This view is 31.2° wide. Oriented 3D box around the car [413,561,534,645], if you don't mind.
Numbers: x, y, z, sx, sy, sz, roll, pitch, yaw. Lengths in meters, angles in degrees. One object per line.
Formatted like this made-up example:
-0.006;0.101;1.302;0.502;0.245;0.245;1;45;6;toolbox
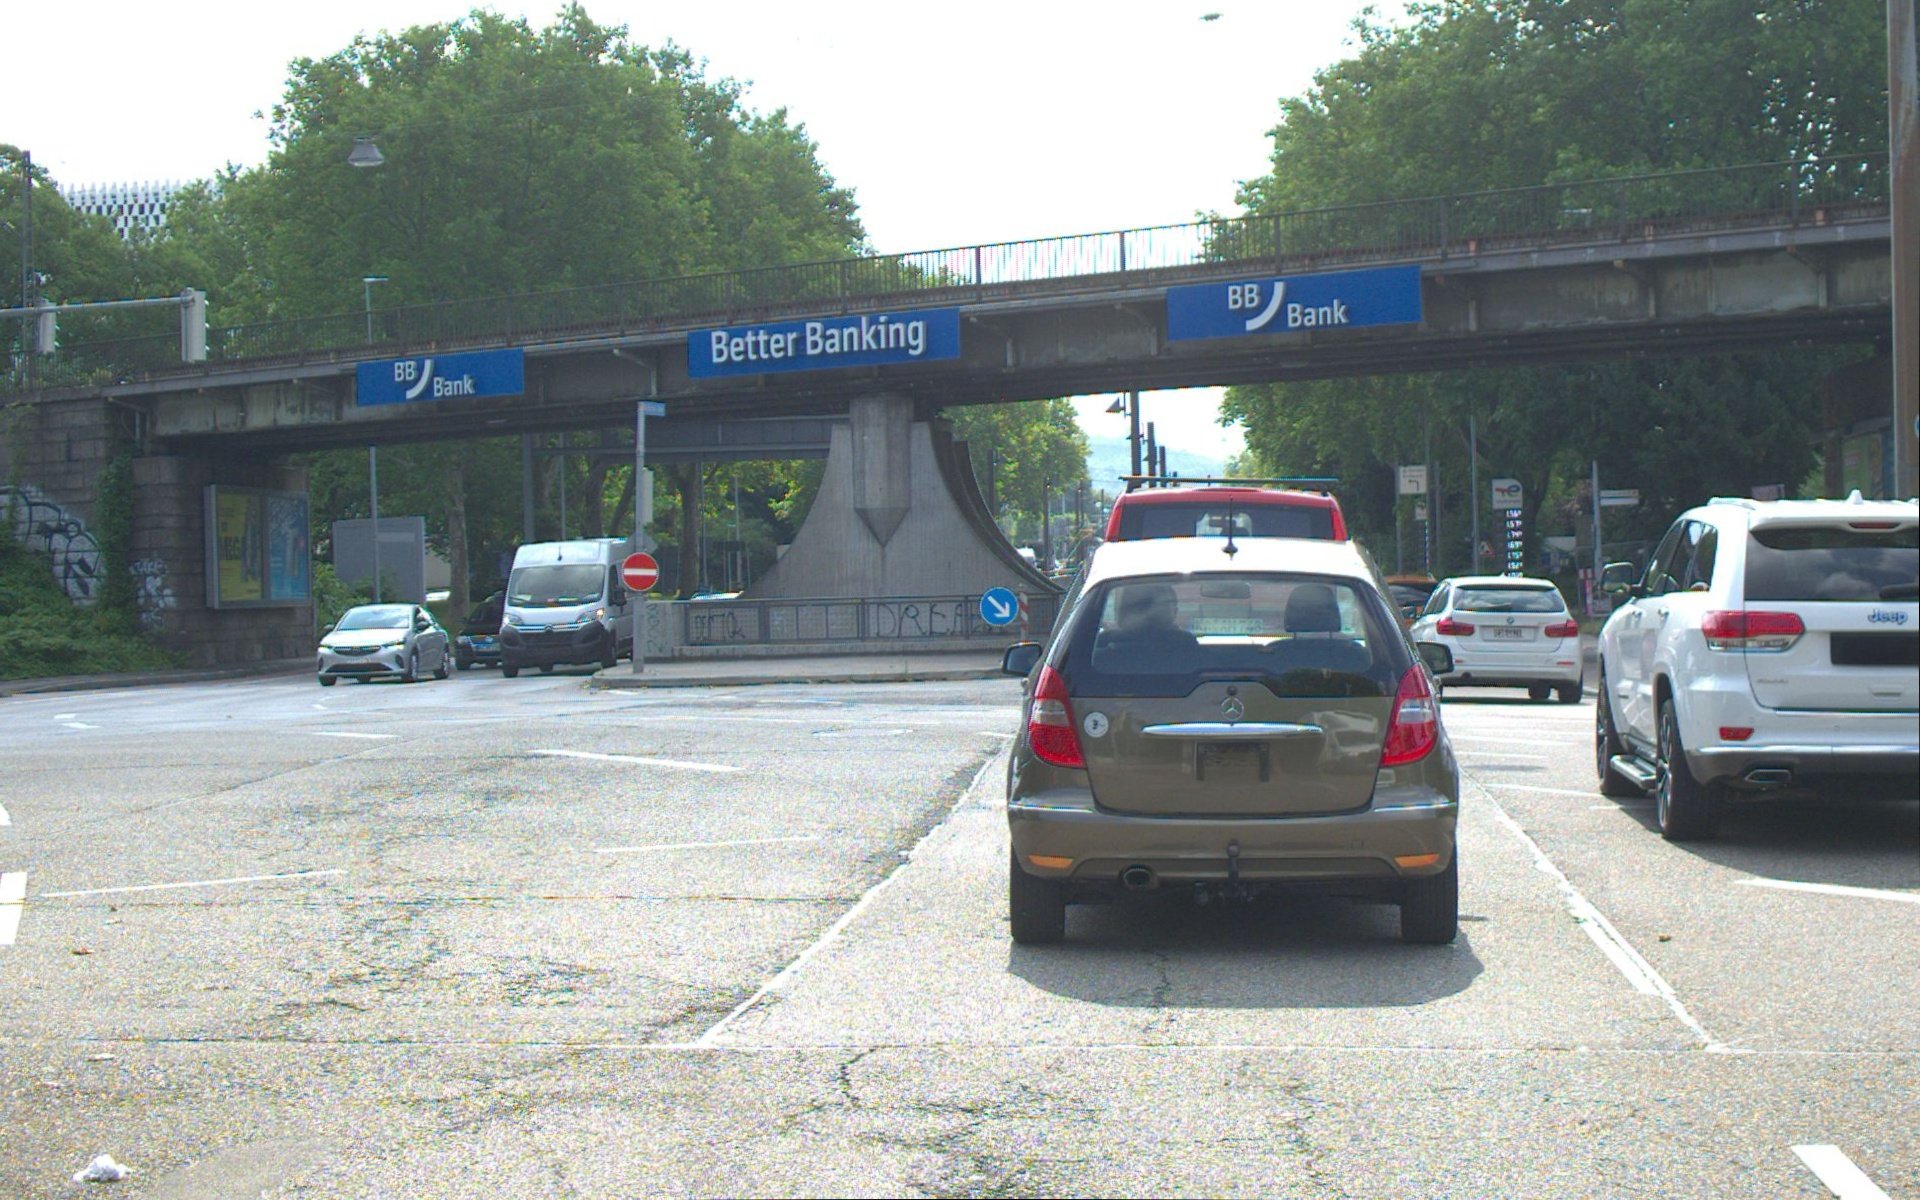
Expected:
-10.322;0.063;73.160;1.765;1.578;4.664;-5;0;0;car

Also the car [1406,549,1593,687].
6.192;0.215;39.764;1.852;1.516;3.616;0;0;4;car

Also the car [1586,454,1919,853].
4.649;0.177;18.637;1.995;1.895;4.508;-1;2;4;car

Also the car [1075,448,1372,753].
1.943;-0.082;25.409;1.956;2.010;4.676;-1;2;4;car

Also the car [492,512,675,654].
-7.014;-0.325;64.643;2.258;2.518;5.625;-1;0;6;car

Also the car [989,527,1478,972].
1.151;0.508;14.552;1.792;1.603;3.798;0;2;4;car

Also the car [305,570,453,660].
-10.544;0.250;62.648;1.702;1.471;4.000;-4;0;3;car

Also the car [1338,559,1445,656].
6.940;0.137;55.503;1.544;1.516;3.616;0;0;4;car

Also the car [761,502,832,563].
-7.160;-2.942;151.072;2.245;2.570;5.624;-2;0;6;car

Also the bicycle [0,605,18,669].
-17.109;0.651;59.012;0.843;1.090;2.317;-1;1;12;bicycle
